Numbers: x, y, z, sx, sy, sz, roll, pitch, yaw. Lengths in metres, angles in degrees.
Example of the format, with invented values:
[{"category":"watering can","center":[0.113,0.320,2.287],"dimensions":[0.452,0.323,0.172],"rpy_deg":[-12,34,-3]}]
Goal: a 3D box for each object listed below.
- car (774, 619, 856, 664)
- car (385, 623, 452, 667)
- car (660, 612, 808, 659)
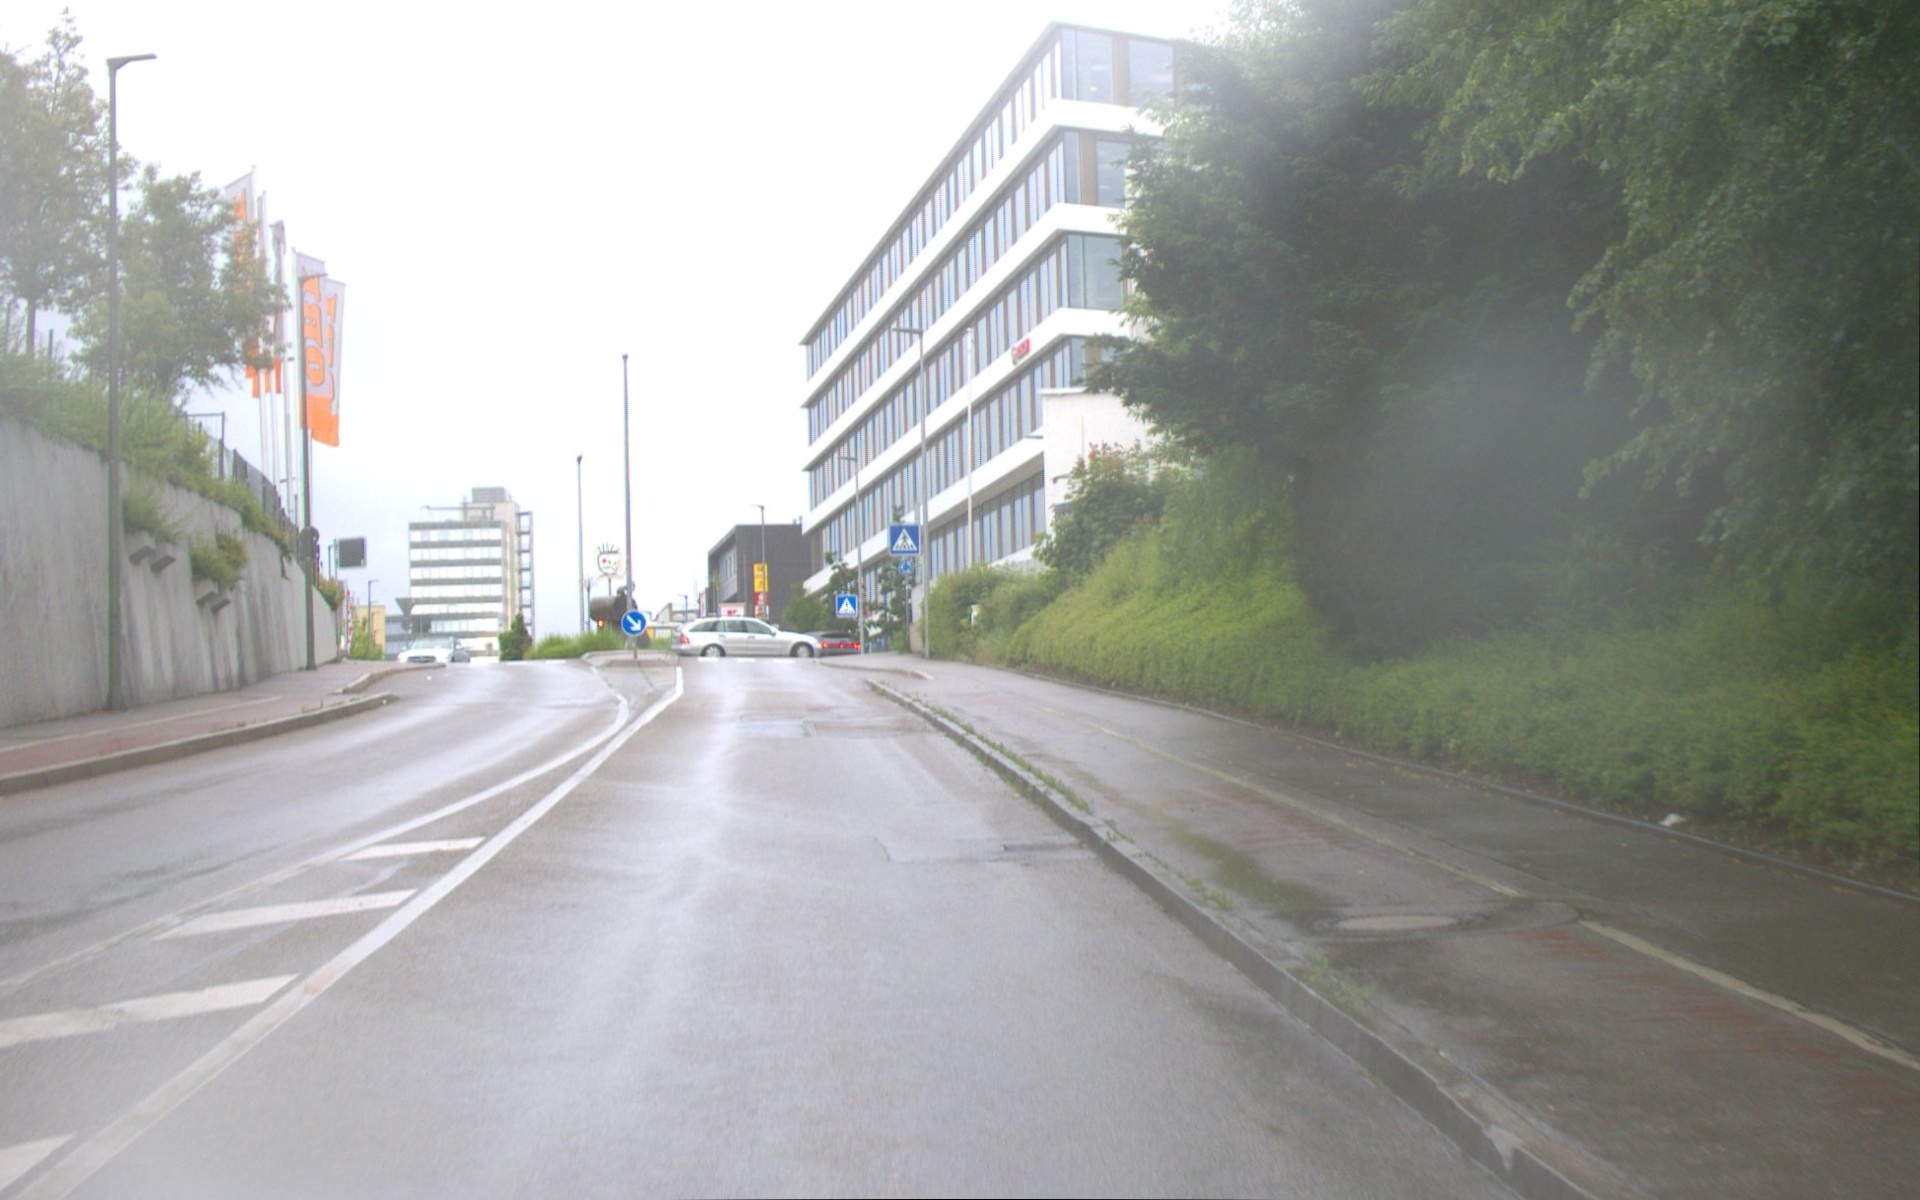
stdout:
[{"category":"car","center":[-4.901,1.382,115.781],"dimensions":[1.794,1.405,4.217],"rpy_deg":[-2,0,-15]},{"category":"car","center":[-18.104,1.507,115.024],"dimensions":[2.001,1.422,4.782],"rpy_deg":[0,-1,-7]},{"category":"car","center":[-6.776,1.061,103.027],"dimensions":[4.234,1.357,1.646],"rpy_deg":[0,0,-12]}]
